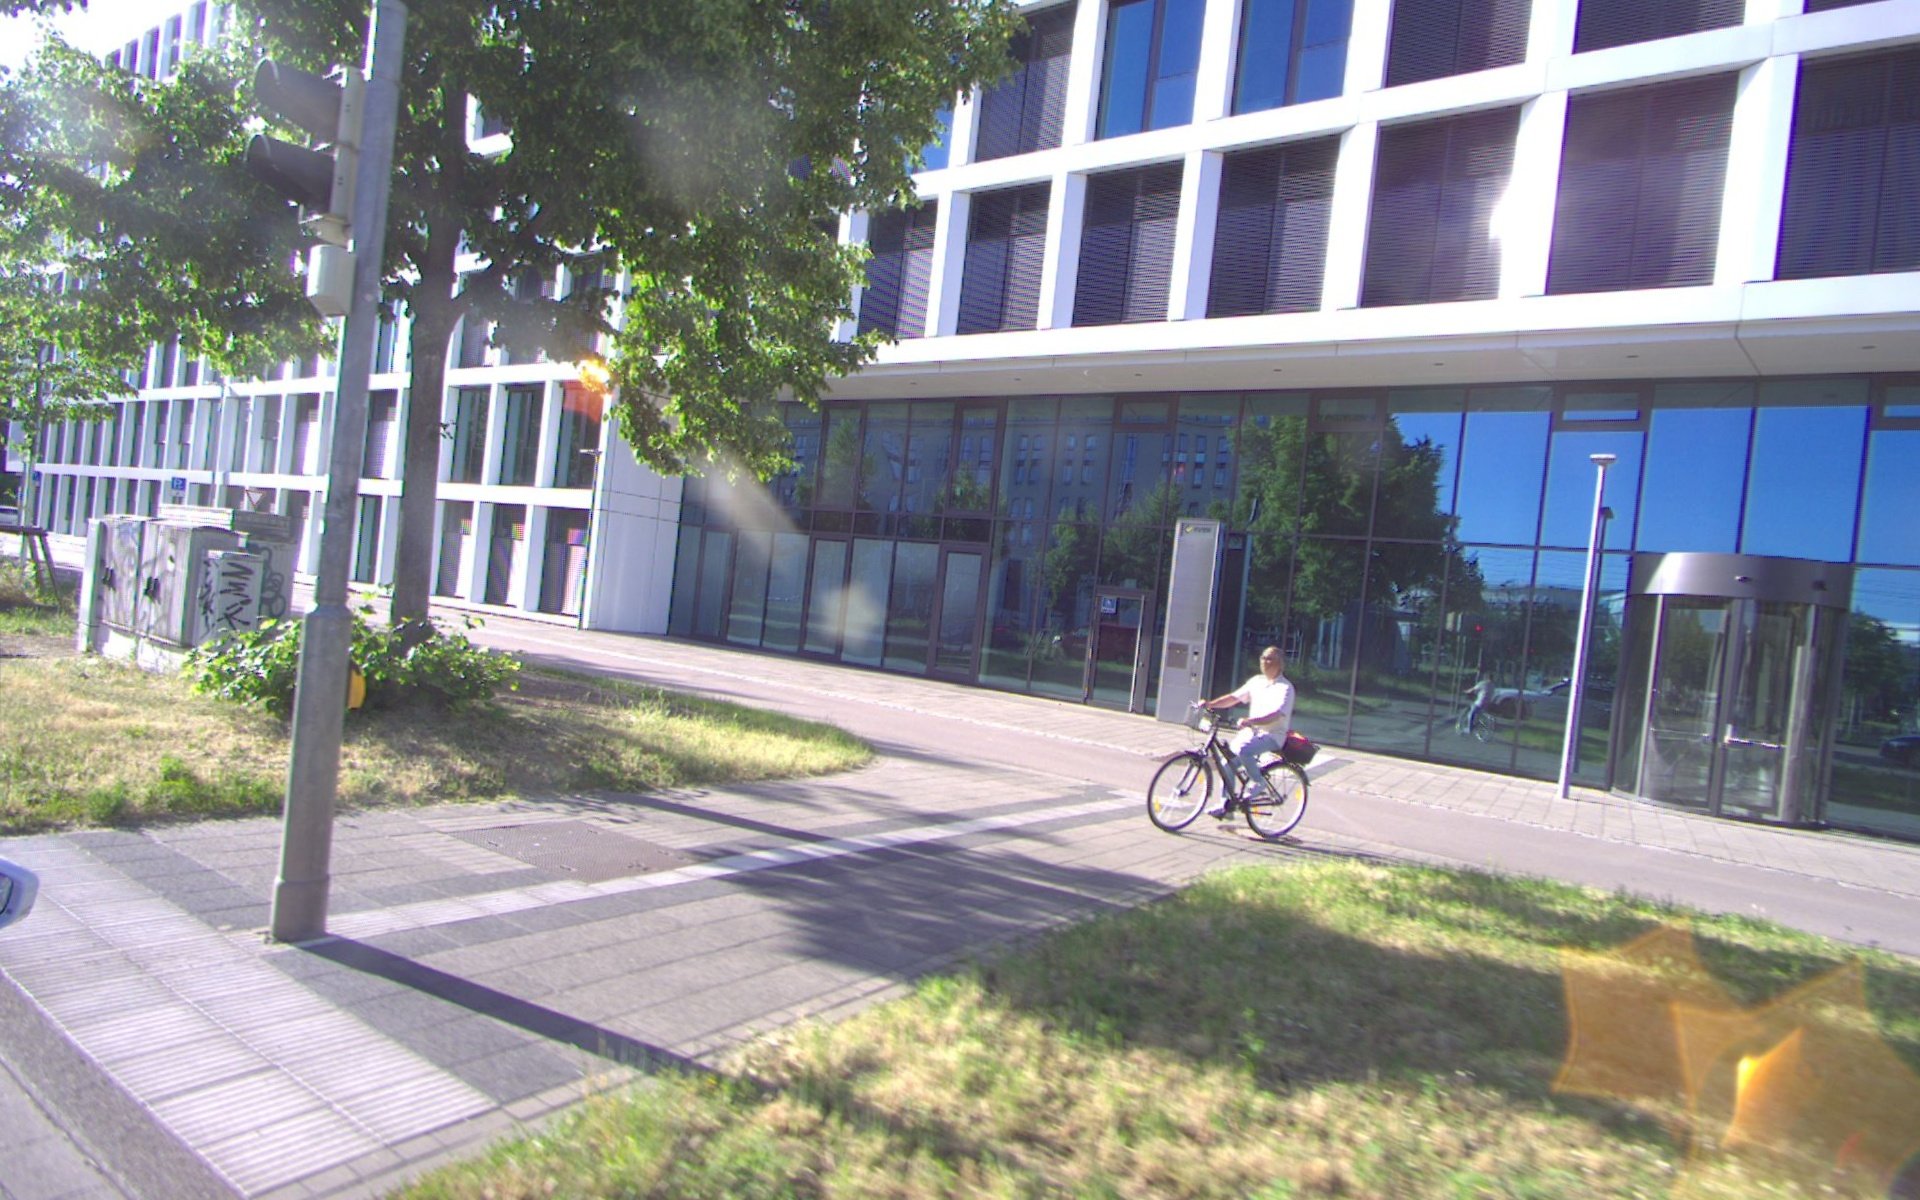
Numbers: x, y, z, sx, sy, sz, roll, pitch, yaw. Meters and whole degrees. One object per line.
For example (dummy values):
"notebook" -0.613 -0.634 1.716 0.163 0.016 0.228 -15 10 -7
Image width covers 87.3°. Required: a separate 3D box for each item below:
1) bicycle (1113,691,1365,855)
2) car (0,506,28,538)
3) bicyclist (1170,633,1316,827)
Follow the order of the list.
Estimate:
"bicycle" 2.446 1.515 8.890 1.929 1.188 0.742 6 0 -13
"car" -63.255 -5.231 66.153 3.938 1.837 1.995 5 -2 35
"bicyclist" 2.479 1.125 8.894 0.836 1.550 0.772 6 1 -13
